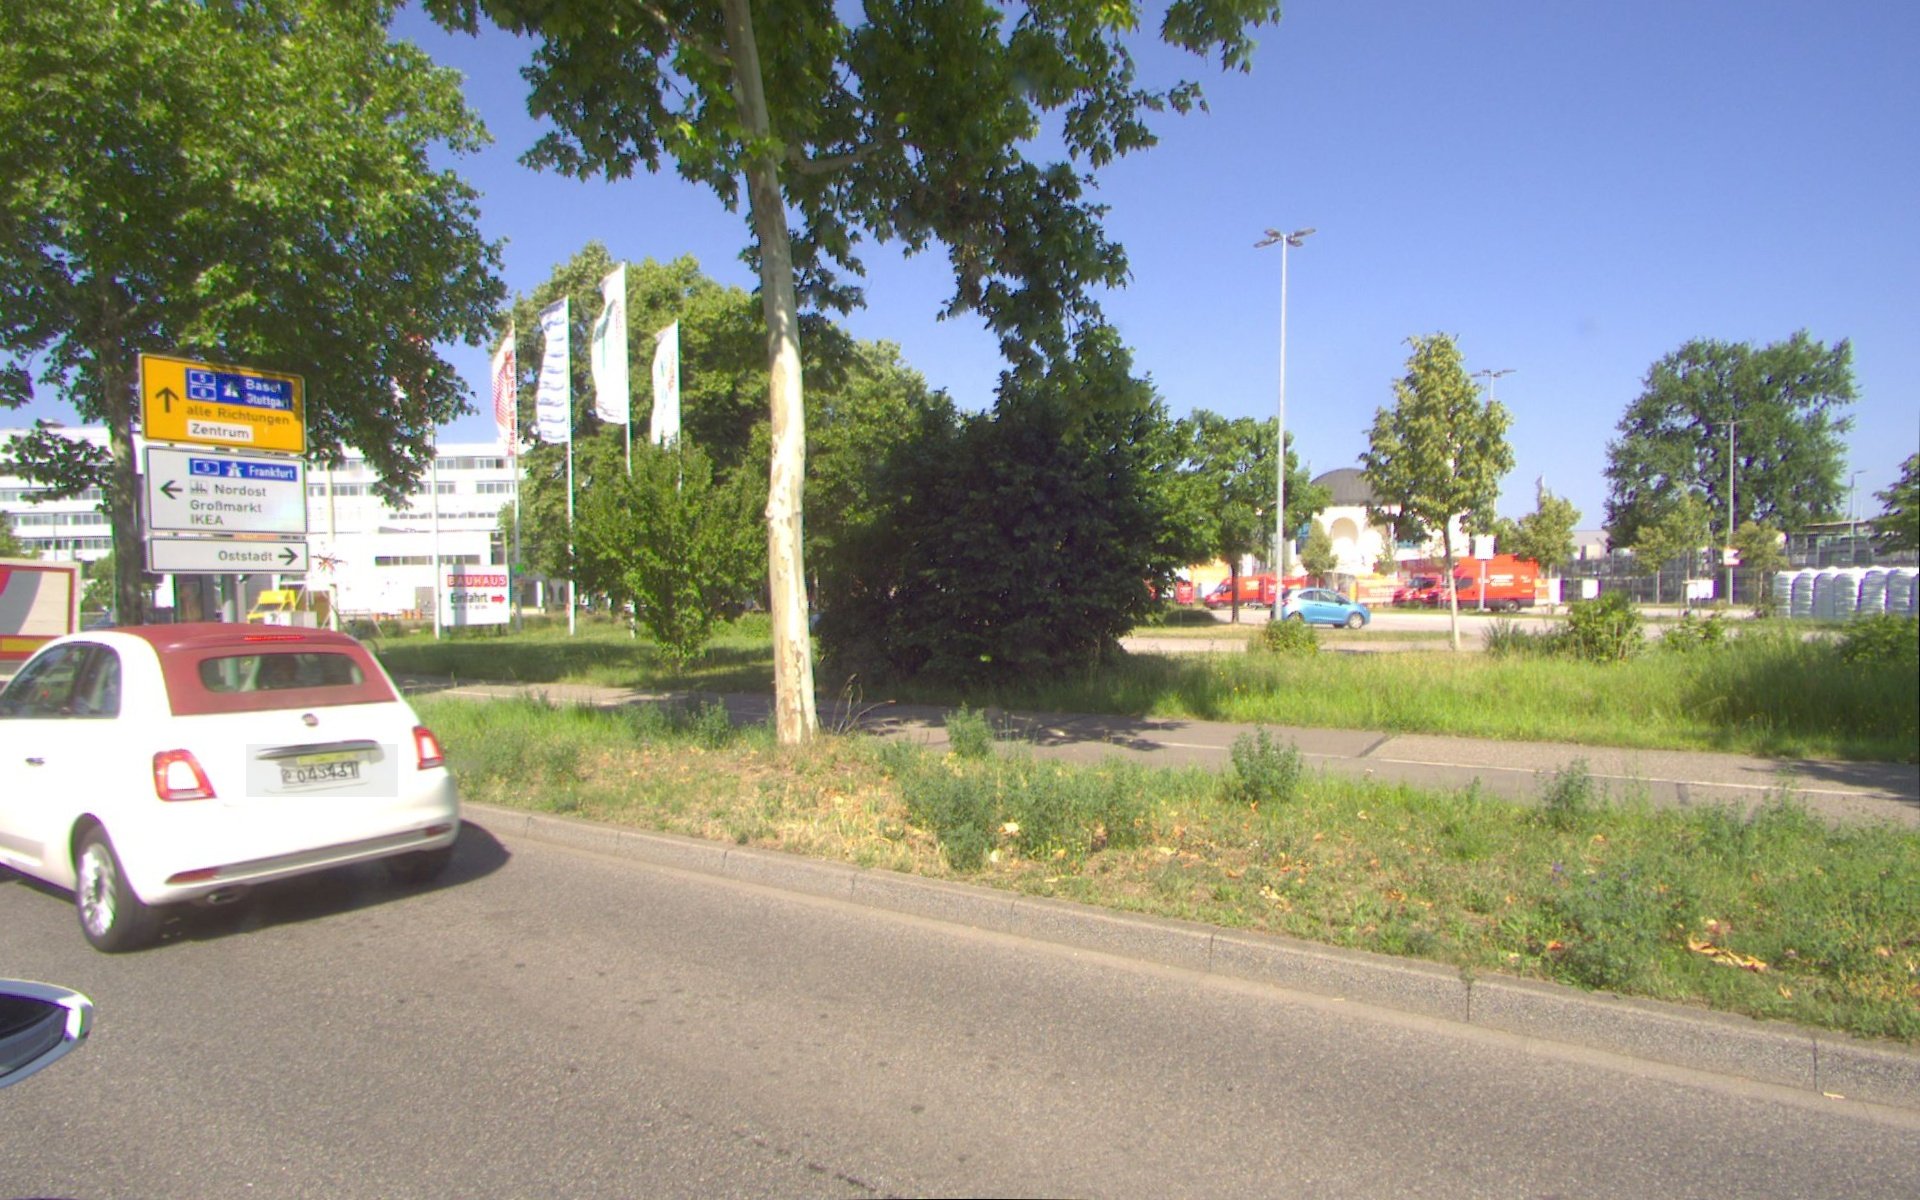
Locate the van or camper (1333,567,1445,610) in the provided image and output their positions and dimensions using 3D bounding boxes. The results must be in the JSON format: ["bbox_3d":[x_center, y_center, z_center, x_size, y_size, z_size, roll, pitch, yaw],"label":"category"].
[{"bbox_3d":[30.690,-0.837,71.775,7.145,2.979,2.001,0,-1,-2],"label":"van or camper"}]

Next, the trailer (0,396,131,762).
[{"bbox_3d":[-15.188,-0.099,12.927,12.500,3.668,2.896,-1,-2,31],"label":"trailer"}]

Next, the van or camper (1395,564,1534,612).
[{"bbox_3d":[29.429,-0.673,58.536,7.145,2.739,2.001,0,-1,-2],"label":"van or camper"}]

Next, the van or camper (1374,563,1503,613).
[{"bbox_3d":[29.706,-0.709,62.282,7.145,2.979,2.001,0,-1,-2],"label":"van or camper"}]

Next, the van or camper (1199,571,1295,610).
[{"bbox_3d":[22.969,-0.755,80.327,7.145,2.979,2.001,0,-1,-2],"label":"van or camper"}]

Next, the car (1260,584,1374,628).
[{"bbox_3d":[13.155,0.247,37.042,3.580,1.561,1.753,0,-2,-3],"label":"car"}]

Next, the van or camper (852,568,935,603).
[{"bbox_3d":[-5.780,-1.239,87.472,7.145,2.979,2.001,0,-1,-2],"label":"van or camper"}]

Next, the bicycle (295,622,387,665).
[{"bbox_3d":[-16.342,1.128,26.489,1.985,1.027,0.615,-1,1,-41],"label":"bicycle"}]

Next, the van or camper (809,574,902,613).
[{"bbox_3d":[-8.127,-0.517,78.358,7.145,2.979,2.001,0,-1,-2],"label":"van or camper"}]

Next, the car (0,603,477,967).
[{"bbox_3d":[-4.436,0.840,5.756,3.214,1.533,1.536,-1,-2,32],"label":"car"}]
